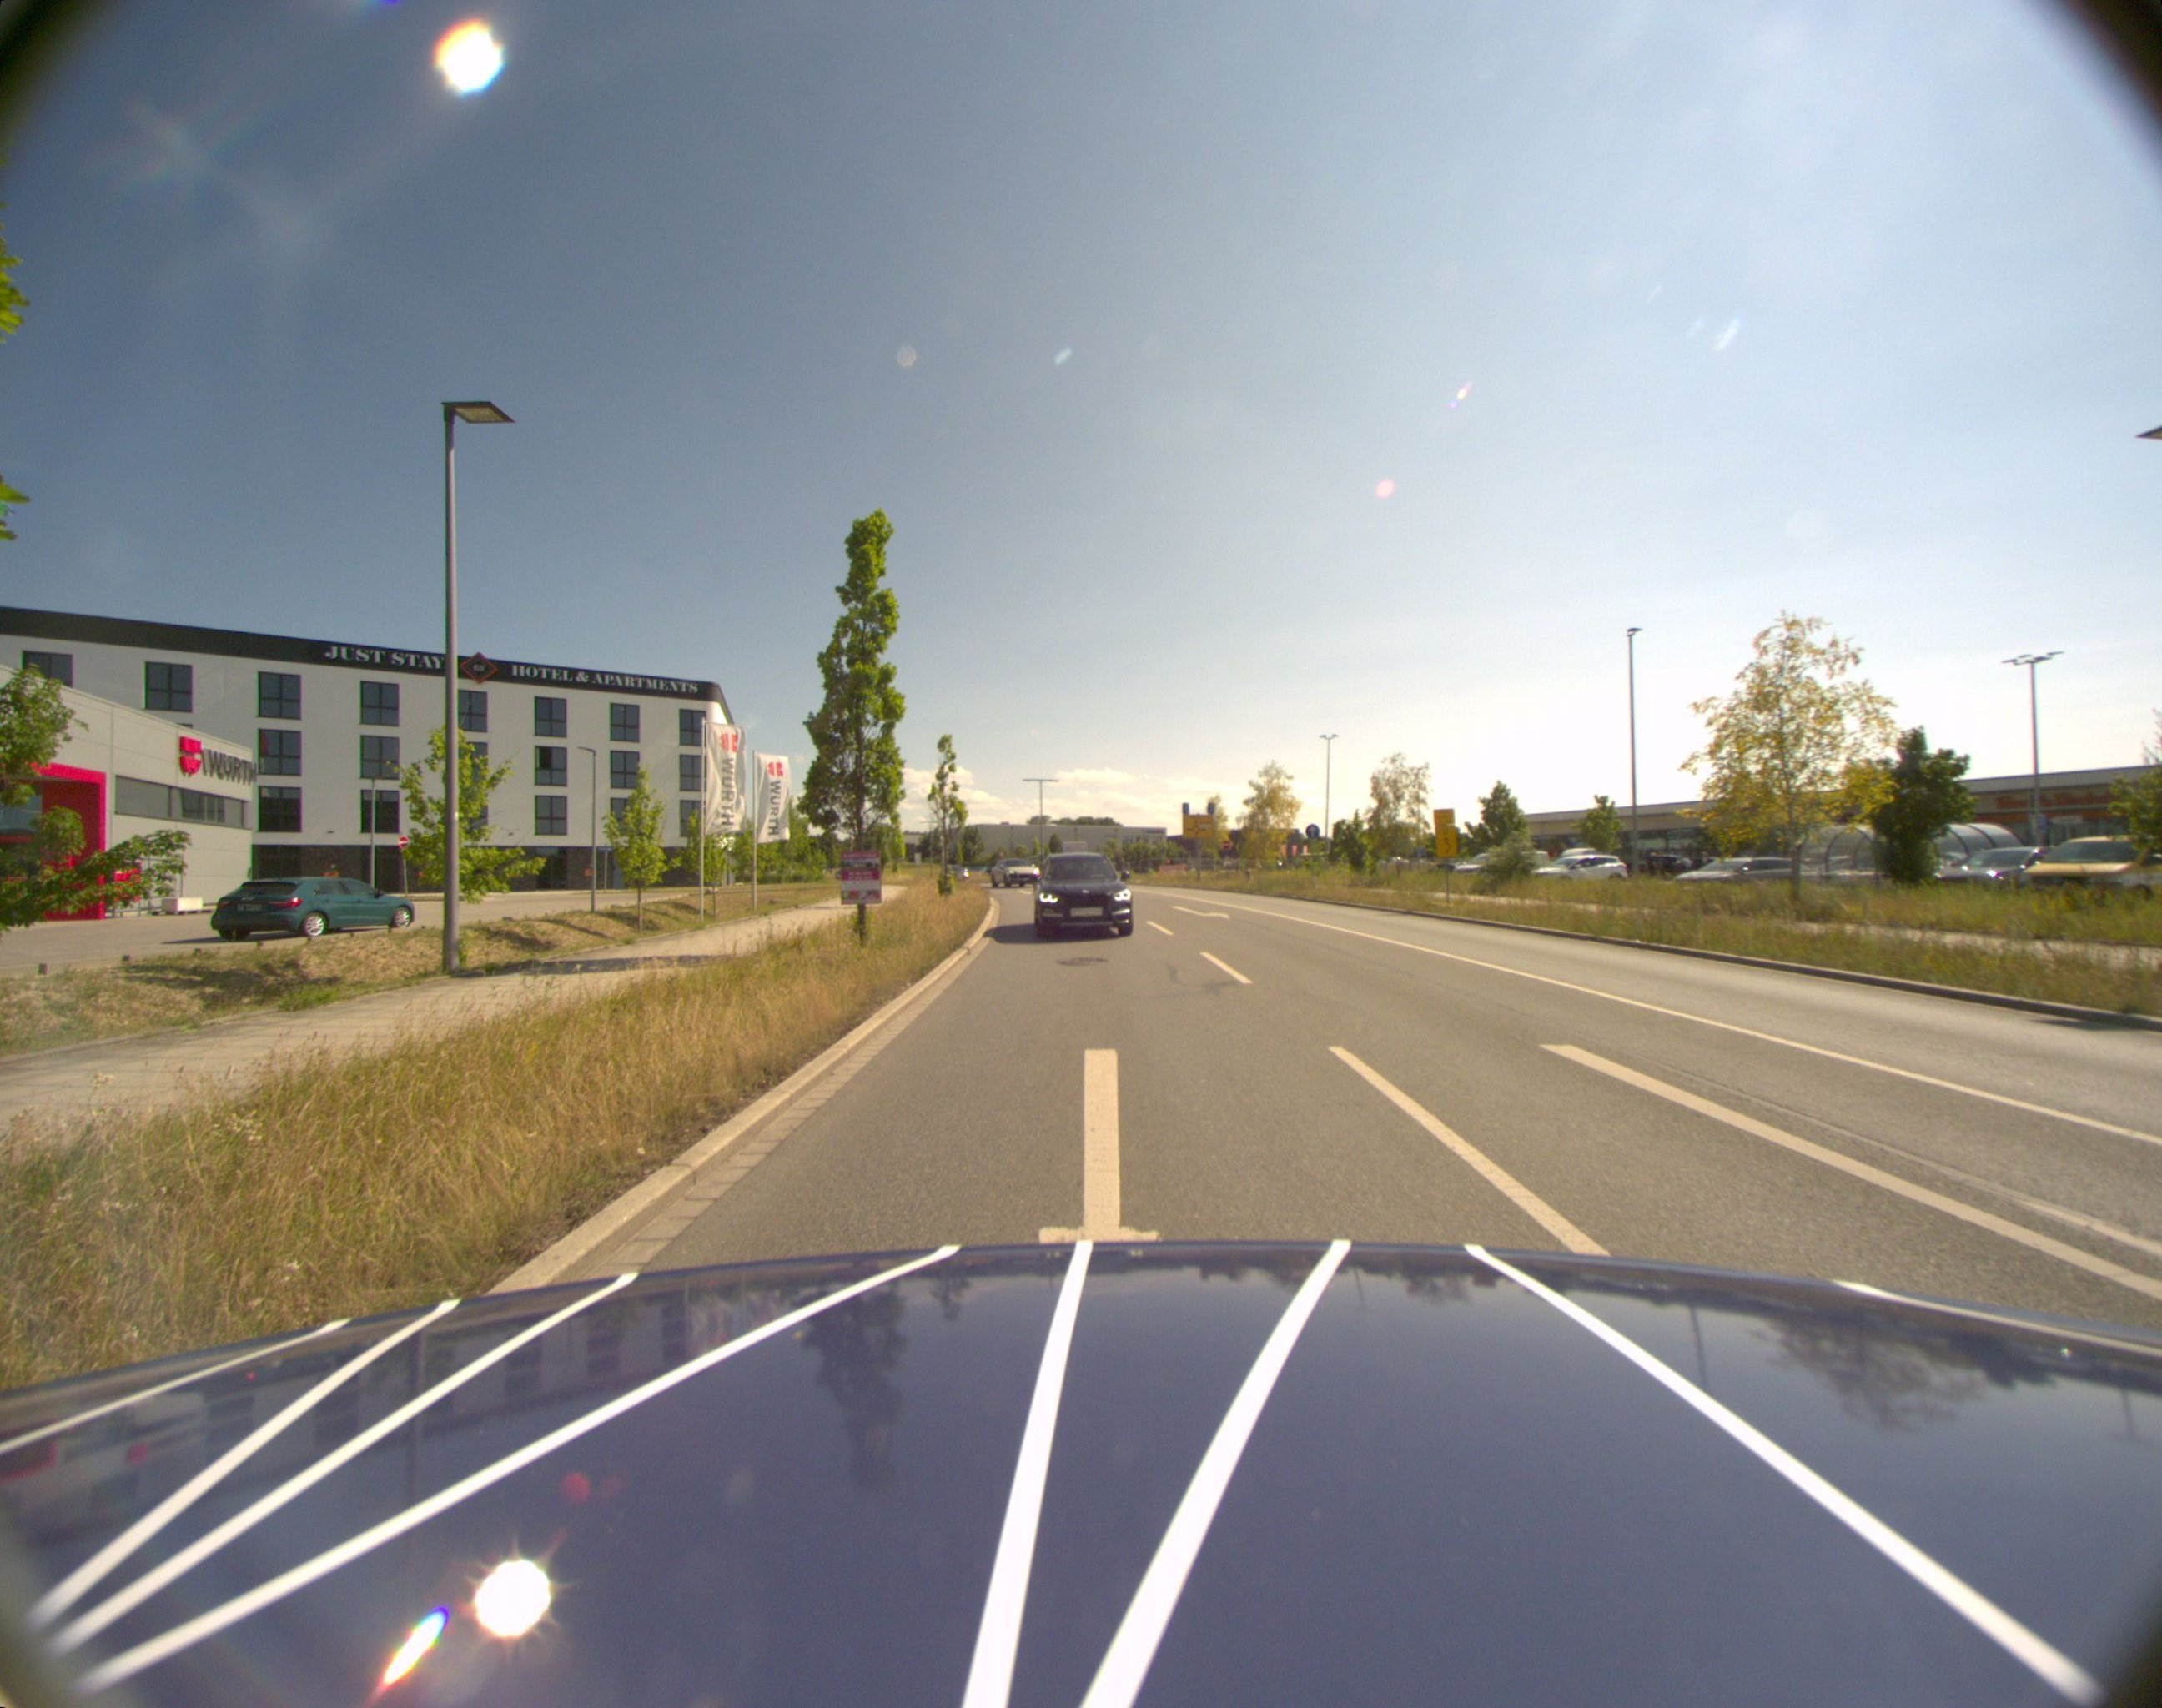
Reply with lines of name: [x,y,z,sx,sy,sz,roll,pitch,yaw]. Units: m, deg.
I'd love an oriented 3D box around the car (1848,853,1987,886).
car: [40.592,0.716,37.020,1.719,1.507,4.233,-1,0,-20]

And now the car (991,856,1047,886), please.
car: [-3.728,1.031,44.958,2.118,1.633,4.771,-1,-2,-19]

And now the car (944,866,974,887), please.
car: [-10.219,1.835,63.636,1.759,1.677,4.374,-1,0,-19]

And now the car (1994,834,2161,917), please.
car: [26.867,0.495,19.228,5.699,1.953,1.999,-1,0,-6]

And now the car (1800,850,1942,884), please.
car: [35.804,0.581,34.583,1.719,1.417,4.134,-1,0,-20]

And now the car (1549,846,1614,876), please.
car: [44.439,0.598,67.412,5.725,2.572,1.936,0,0,-23]

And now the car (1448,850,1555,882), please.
car: [23.117,0.631,41.814,5.199,1.662,1.998,-1,0,-14]

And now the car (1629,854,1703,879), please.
car: [37.069,0.776,48.144,4.004,1.543,1.841,0,0,-20]

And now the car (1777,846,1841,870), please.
car: [49.692,0.254,51.865,4.360,1.555,1.714,0,0,-26]

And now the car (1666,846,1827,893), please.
car: [25.371,0.572,29.039,4.716,1.662,1.999,-1,0,-7]

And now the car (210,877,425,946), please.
car: [-18.421,1.314,18.625,1.518,1.399,3.998,-1,0,-6]

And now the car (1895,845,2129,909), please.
car: [26.145,0.611,21.417,4.782,1.662,1.881,-1,0,-6]

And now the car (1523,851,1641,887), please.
car: [24.210,0.711,36.771,4.604,1.662,1.999,-1,0,-8]

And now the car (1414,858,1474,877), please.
car: [32.357,1.181,67.853,2.286,1.678,4.411,-1,0,-26]

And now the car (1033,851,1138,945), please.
car: [-0.053,0.881,16.303,1.901,1.669,4.466,-2,-2,-3]

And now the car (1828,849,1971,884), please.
car: [38.225,0.575,35.642,1.719,1.507,4.233,-1,0,-20]
